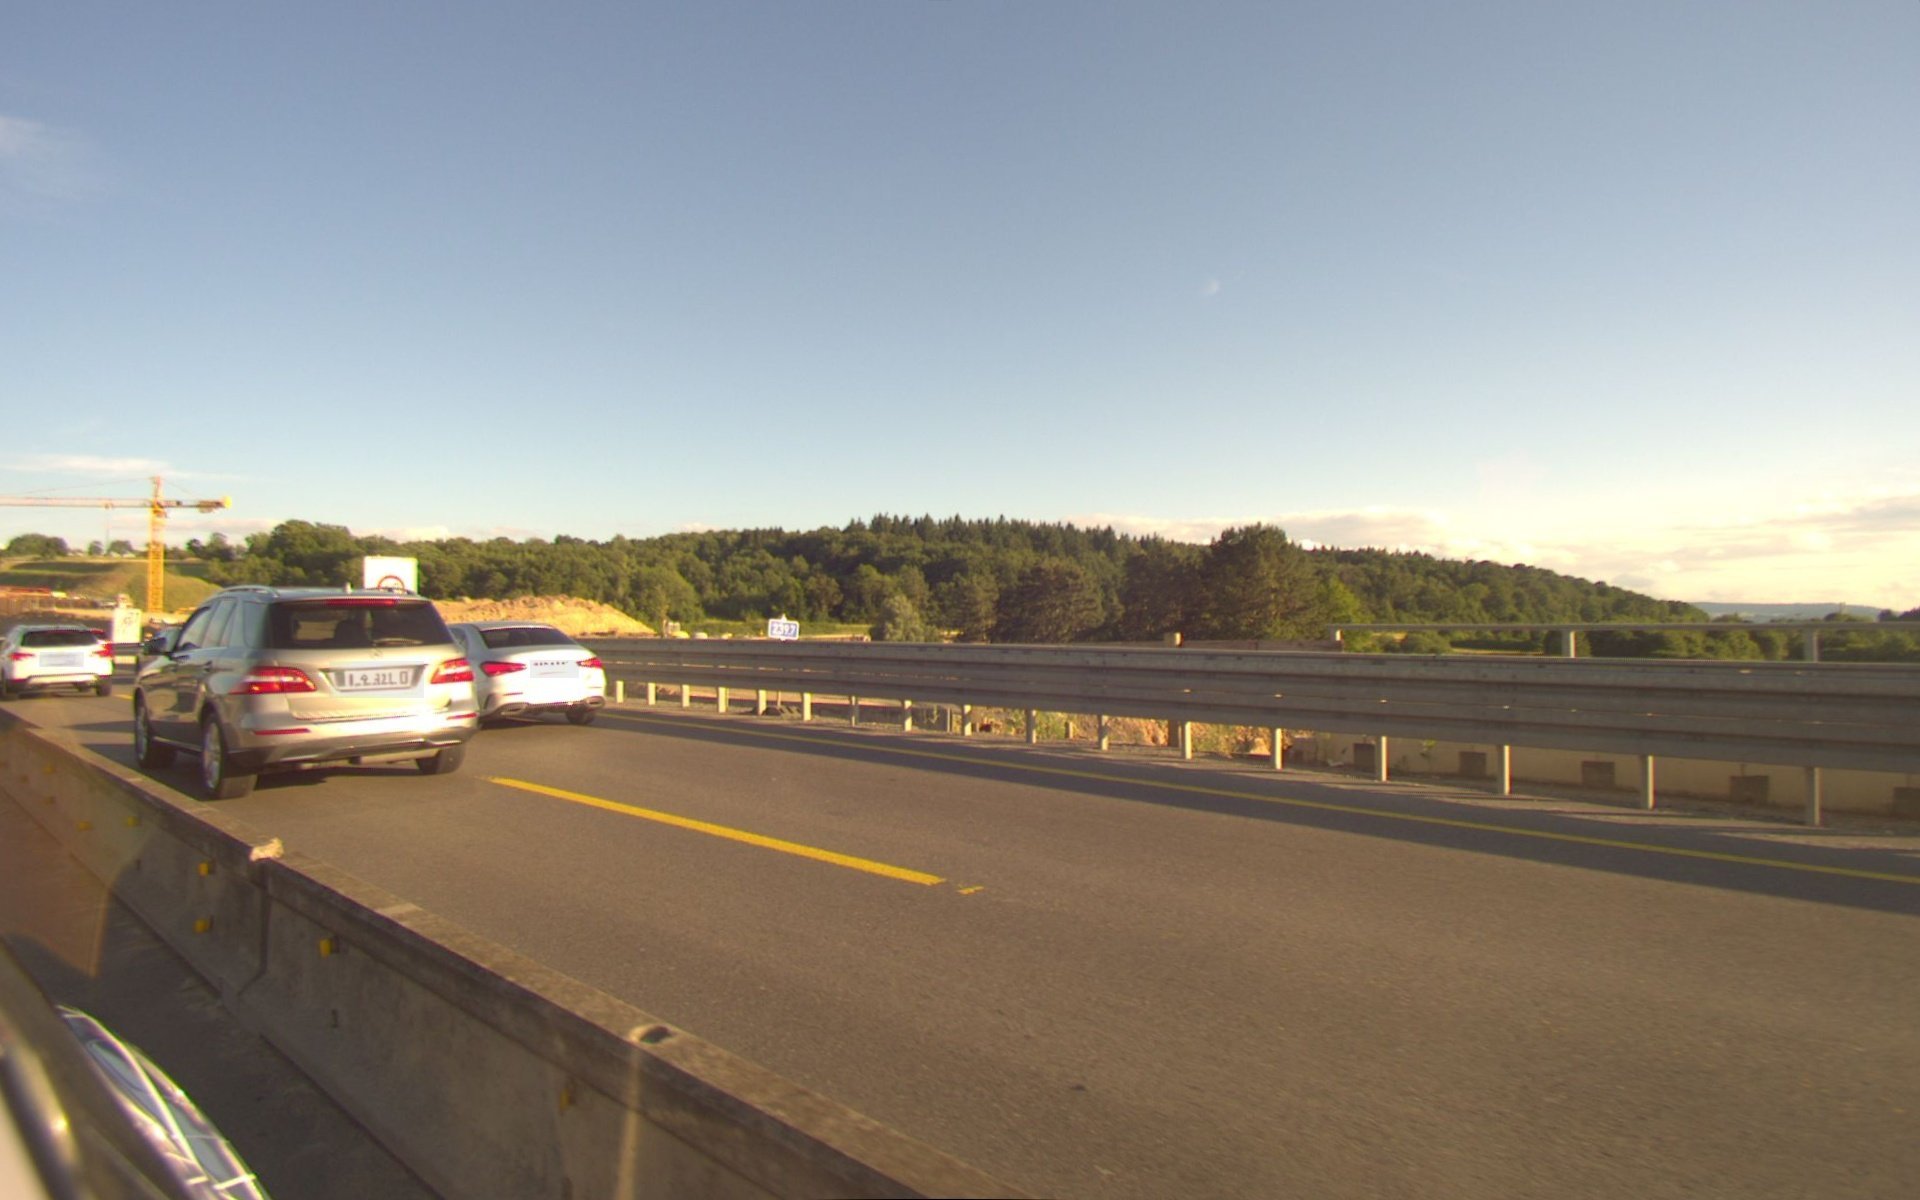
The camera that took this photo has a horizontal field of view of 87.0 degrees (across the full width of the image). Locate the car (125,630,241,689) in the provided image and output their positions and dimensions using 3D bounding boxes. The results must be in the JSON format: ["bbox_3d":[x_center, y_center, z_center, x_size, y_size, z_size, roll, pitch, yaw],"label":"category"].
[{"bbox_3d":[-21.000,1.577,27.280,4.577,1.433,1.659,-3,-2,42],"label":"car"}]

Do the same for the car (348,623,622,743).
[{"bbox_3d":[-6.665,1.024,13.973,4.530,1.393,1.755,-1,-2,41],"label":"car"}]

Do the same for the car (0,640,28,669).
[{"bbox_3d":[-50.498,2.852,53.287,3.998,1.457,1.683,-3,-3,41],"label":"car"}]

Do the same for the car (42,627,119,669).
[{"bbox_3d":[-34.837,1.908,40.041,3.998,1.583,1.761,-3,-3,41],"label":"car"}]

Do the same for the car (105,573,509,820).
[{"bbox_3d":[-6.310,0.746,9.543,4.657,1.772,1.973,-2,-2,41],"label":"car"}]

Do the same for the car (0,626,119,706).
[{"bbox_3d":[-19.411,1.341,21.456,3.997,1.523,1.786,-2,-2,41],"label":"car"}]
